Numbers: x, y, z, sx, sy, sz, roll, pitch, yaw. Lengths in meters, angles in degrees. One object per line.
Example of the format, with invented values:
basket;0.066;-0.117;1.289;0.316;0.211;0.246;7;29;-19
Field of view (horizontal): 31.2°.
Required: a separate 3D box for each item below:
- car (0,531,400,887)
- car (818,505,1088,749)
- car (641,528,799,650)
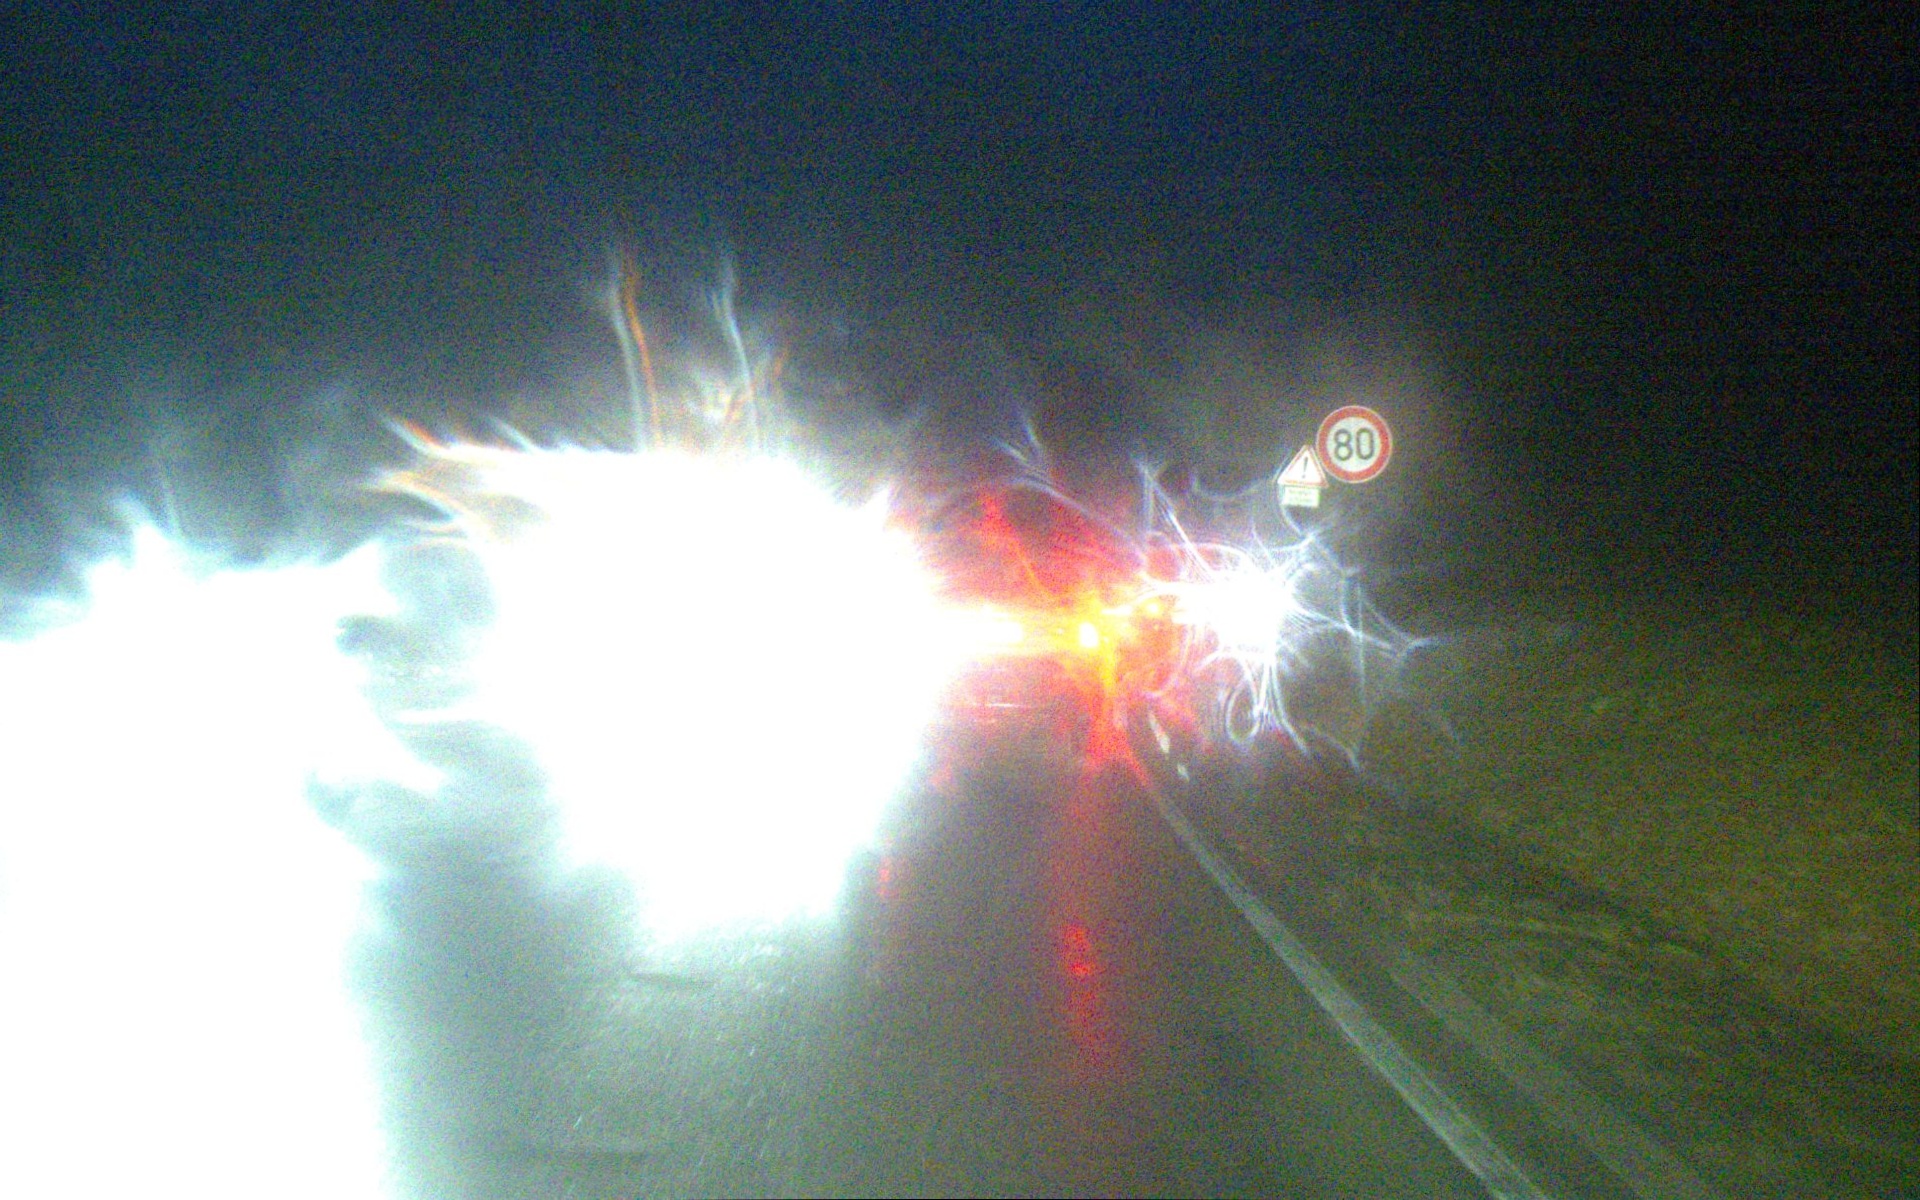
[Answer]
car;-3.983;0.412;16.639;1.755;1.401;4.487;2;2;0
car;-0.039;0.174;27.655;1.993;1.801;3.917;-1;1;0
car;-3.209;-0.182;46.619;1.765;1.537;4.148;1;1;1
